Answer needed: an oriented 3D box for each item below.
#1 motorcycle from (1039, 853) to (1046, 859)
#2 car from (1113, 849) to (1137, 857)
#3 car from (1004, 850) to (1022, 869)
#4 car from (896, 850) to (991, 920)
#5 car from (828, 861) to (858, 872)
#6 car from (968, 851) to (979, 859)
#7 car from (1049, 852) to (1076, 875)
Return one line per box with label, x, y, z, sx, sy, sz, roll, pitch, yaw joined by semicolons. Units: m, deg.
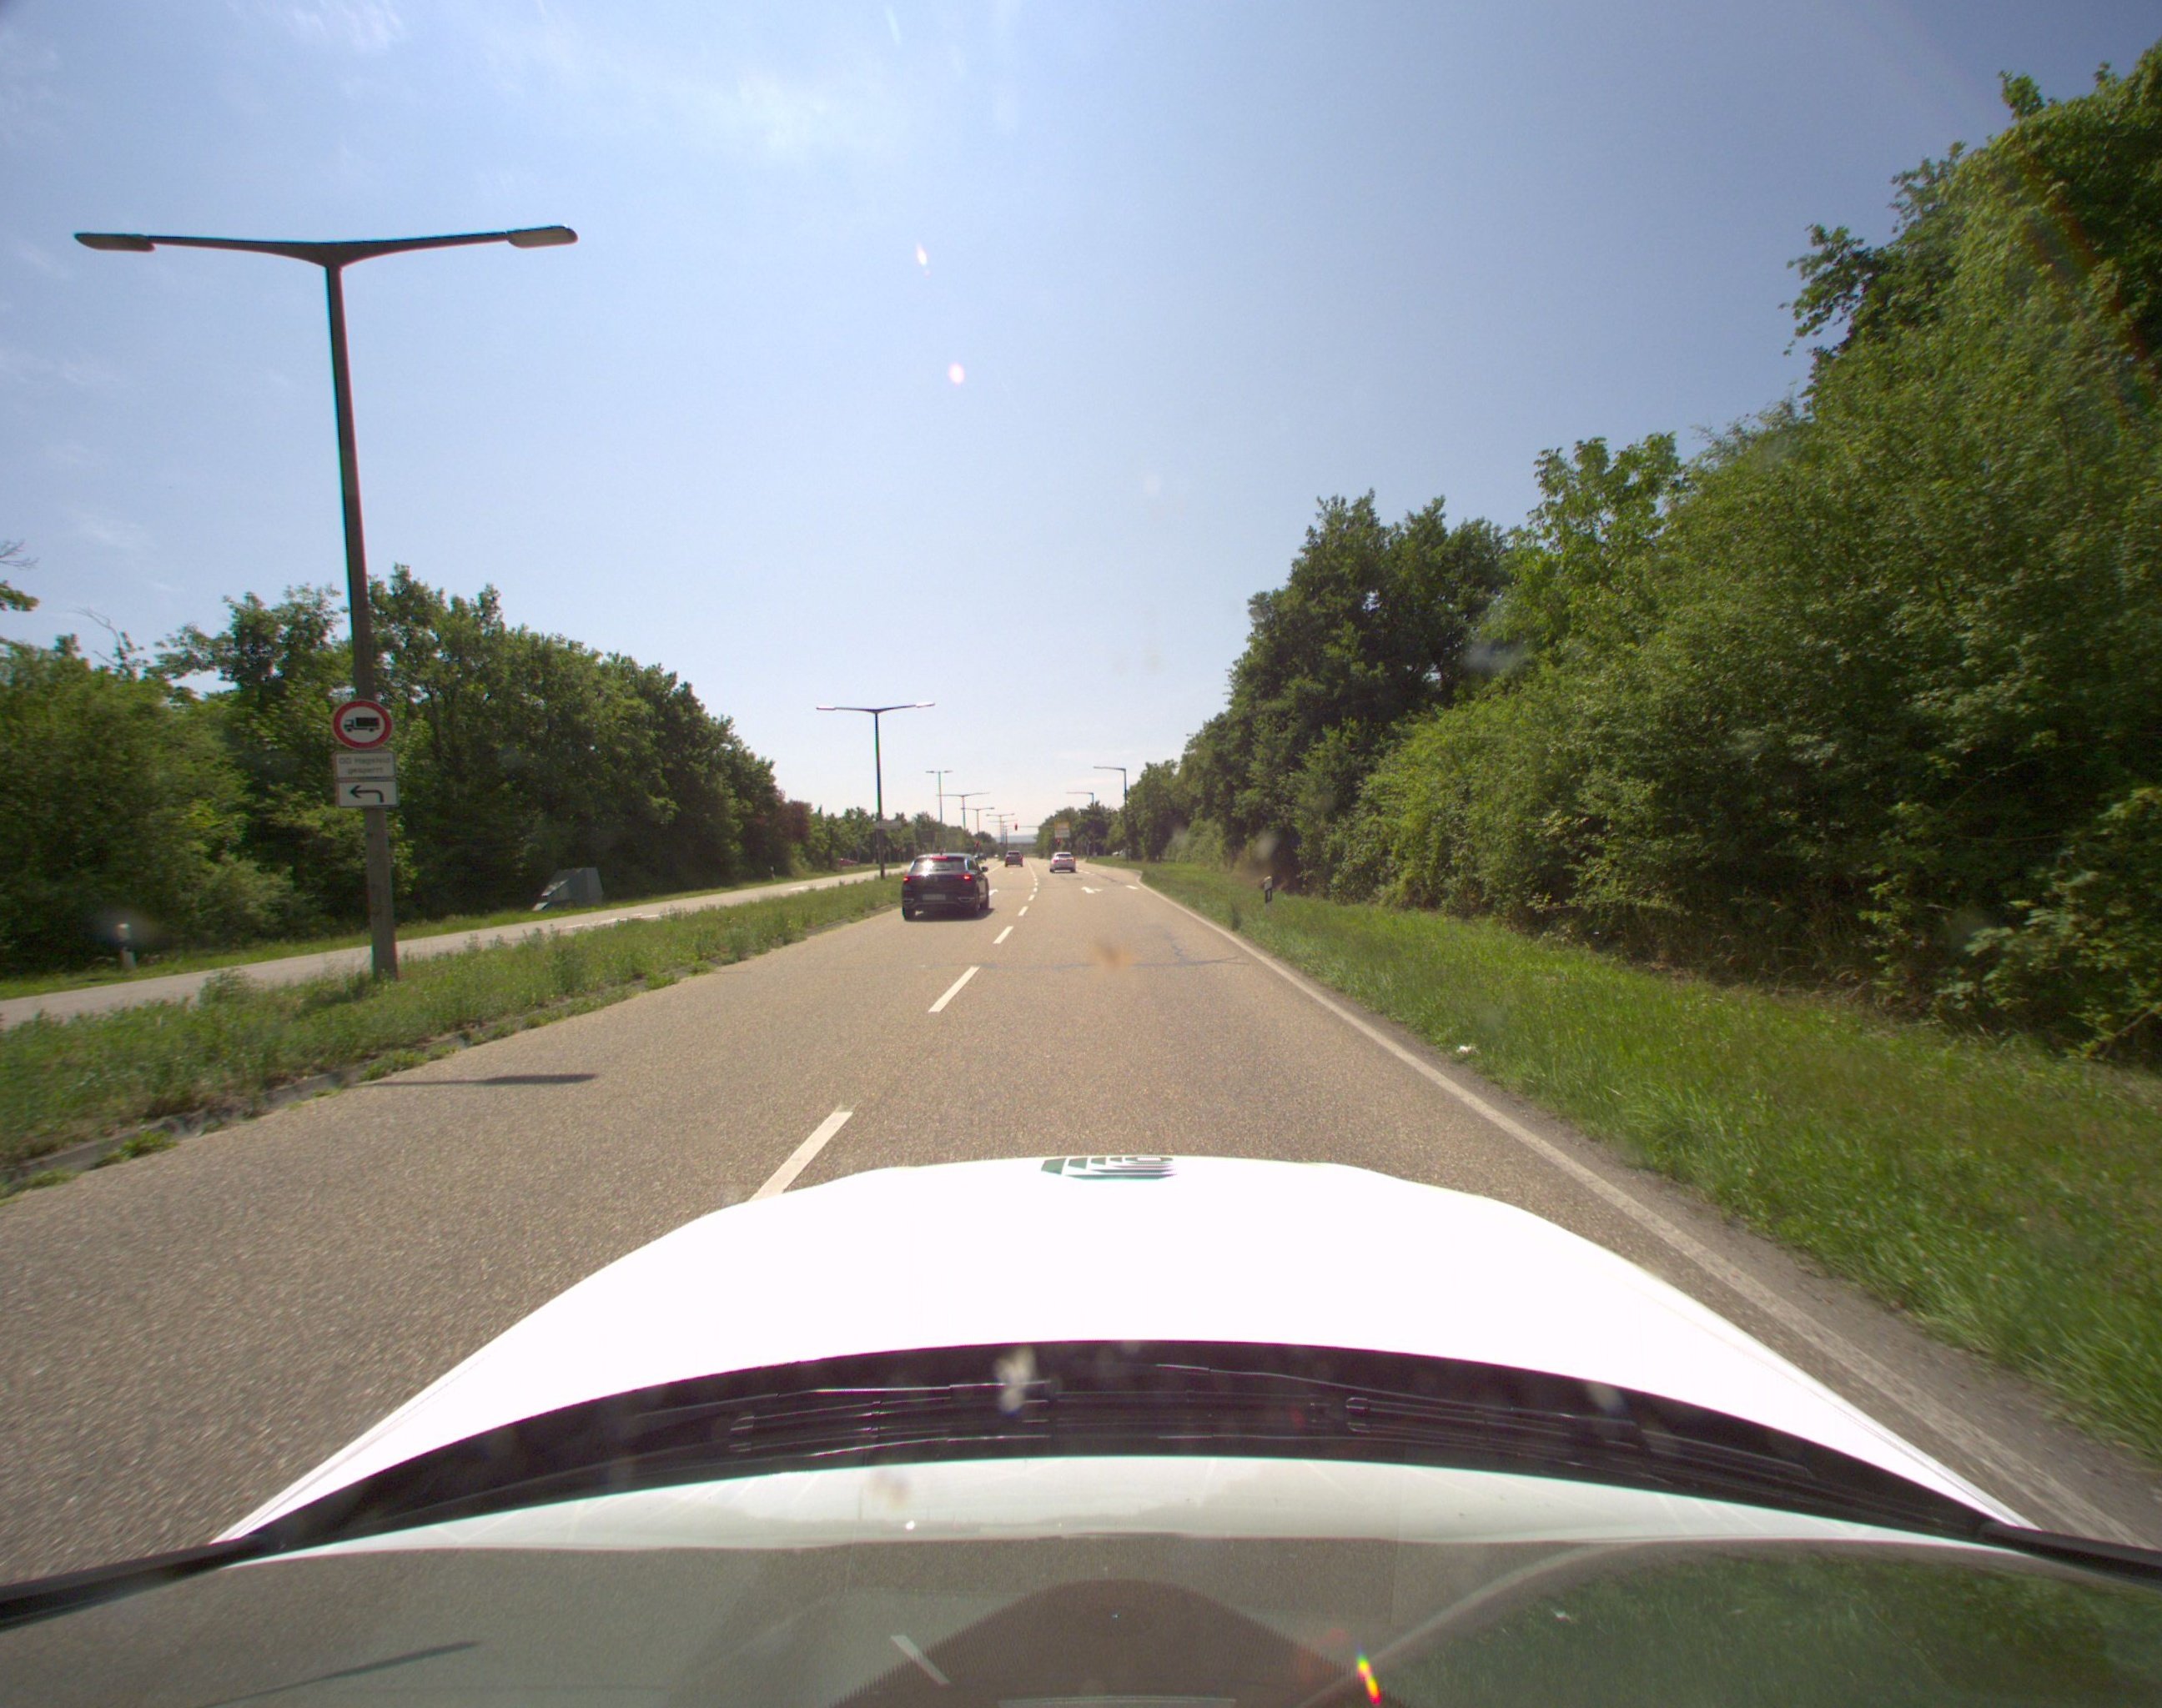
motorcycle;-8.441;0.484;177.147;1.422;1.281;2.565;-4;0;-4
car;8.527;-0.186;158.210;4.105;1.525;1.930;-2;0;-13
car;-7.263;0.574;87.577;1.752;1.929;3.995;-2;0;-4
car;-3.362;0.710;20.596;1.750;1.556;3.998;-2;0;-1
car;-39.341;1.984;134.591;4.526;1.641;1.970;-2;0;-12
car;-22.291;0.204;168.541;1.823;1.519;3.997;-2;0;-2
car;-1.334;0.667;59.042;1.792;1.583;3.998;-2;0;-1
